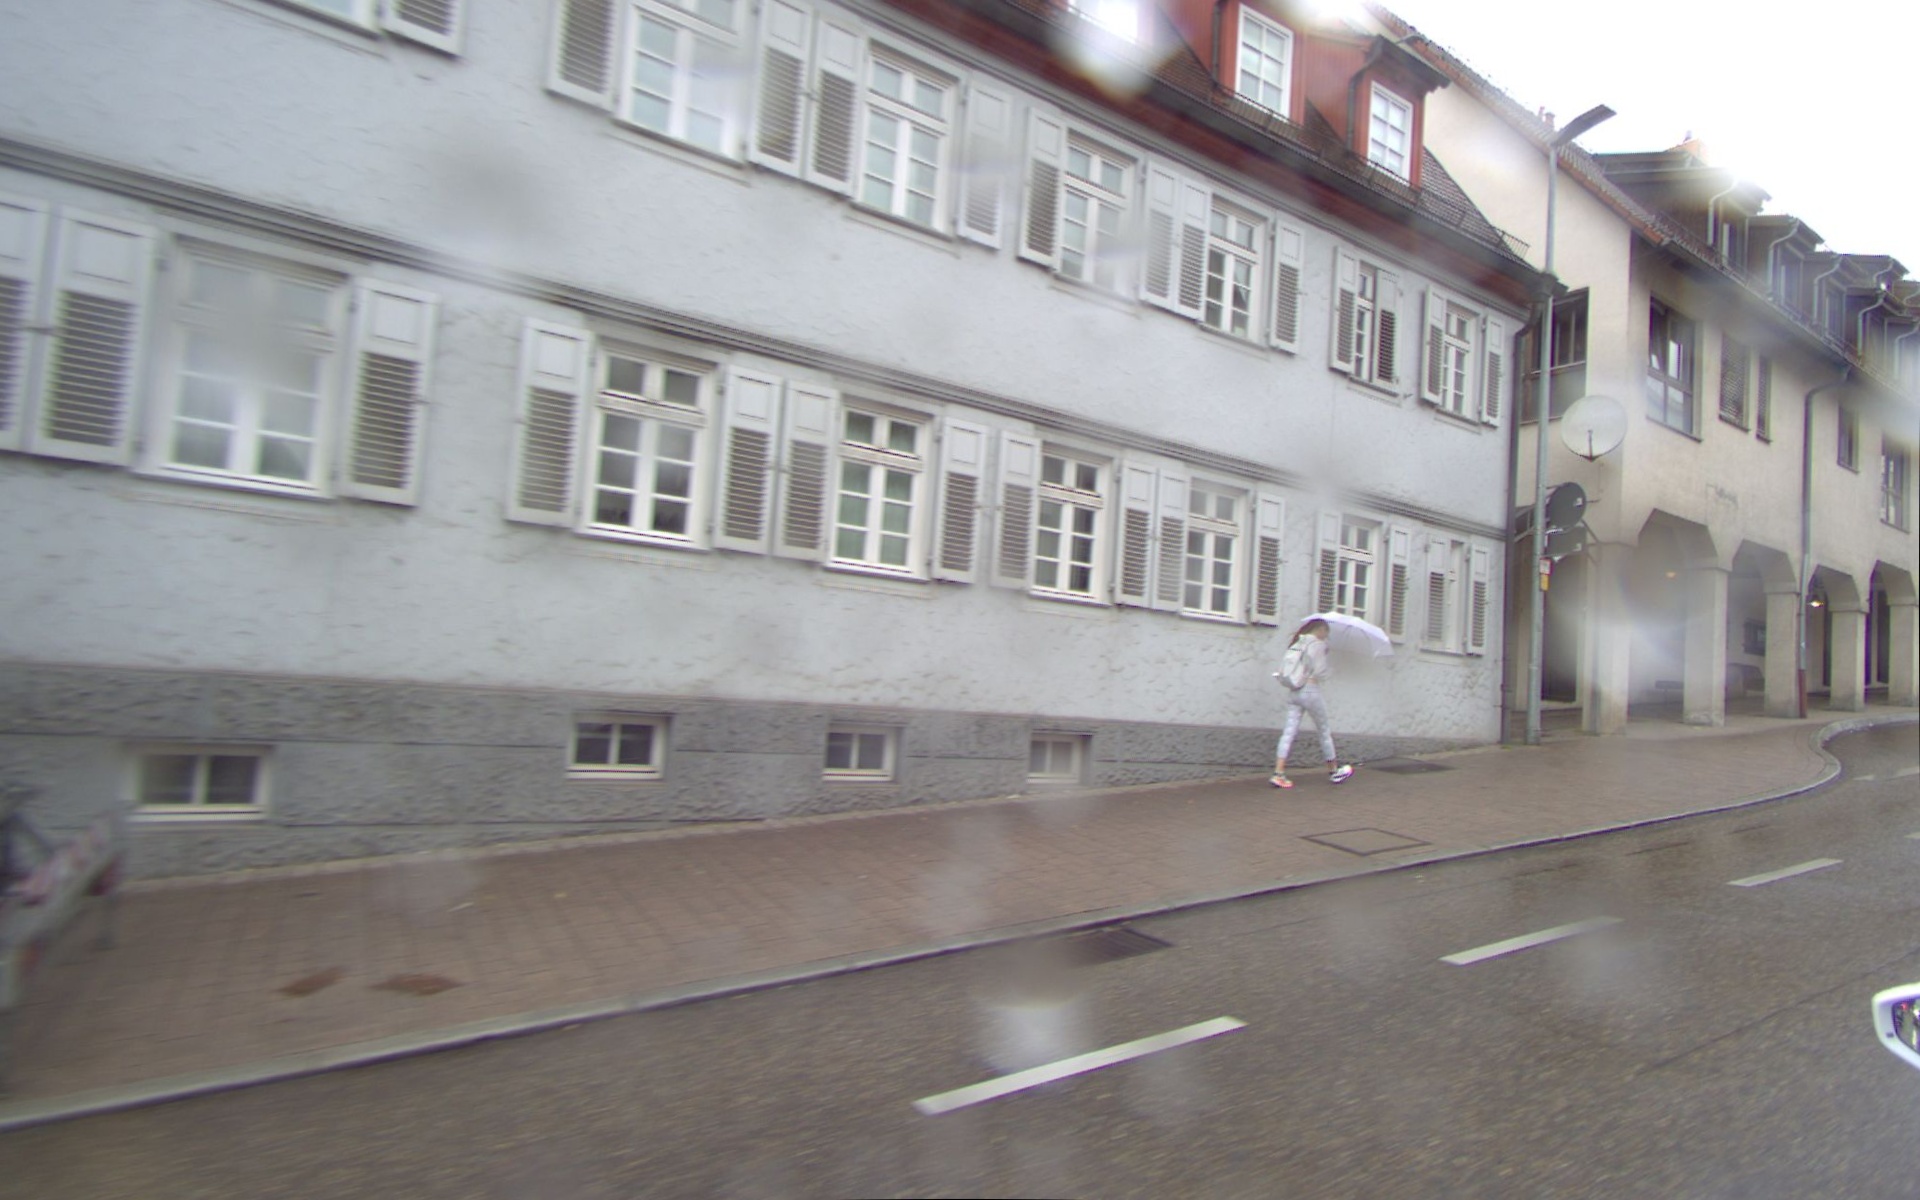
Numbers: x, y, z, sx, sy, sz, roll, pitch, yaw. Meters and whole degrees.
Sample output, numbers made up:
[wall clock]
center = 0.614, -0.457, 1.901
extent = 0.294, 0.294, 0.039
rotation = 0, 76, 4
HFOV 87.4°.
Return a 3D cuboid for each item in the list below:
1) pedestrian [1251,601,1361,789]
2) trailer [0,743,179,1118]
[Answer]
[pedestrian]
center = 3.415, 0.906, 9.932
extent = 0.726, 1.763, 0.685
rotation = 1, 0, -29
[trailer]
center = -5.287, 1.102, 2.959
extent = 4.423, 0.917, 1.985
rotation = 2, -1, -30
